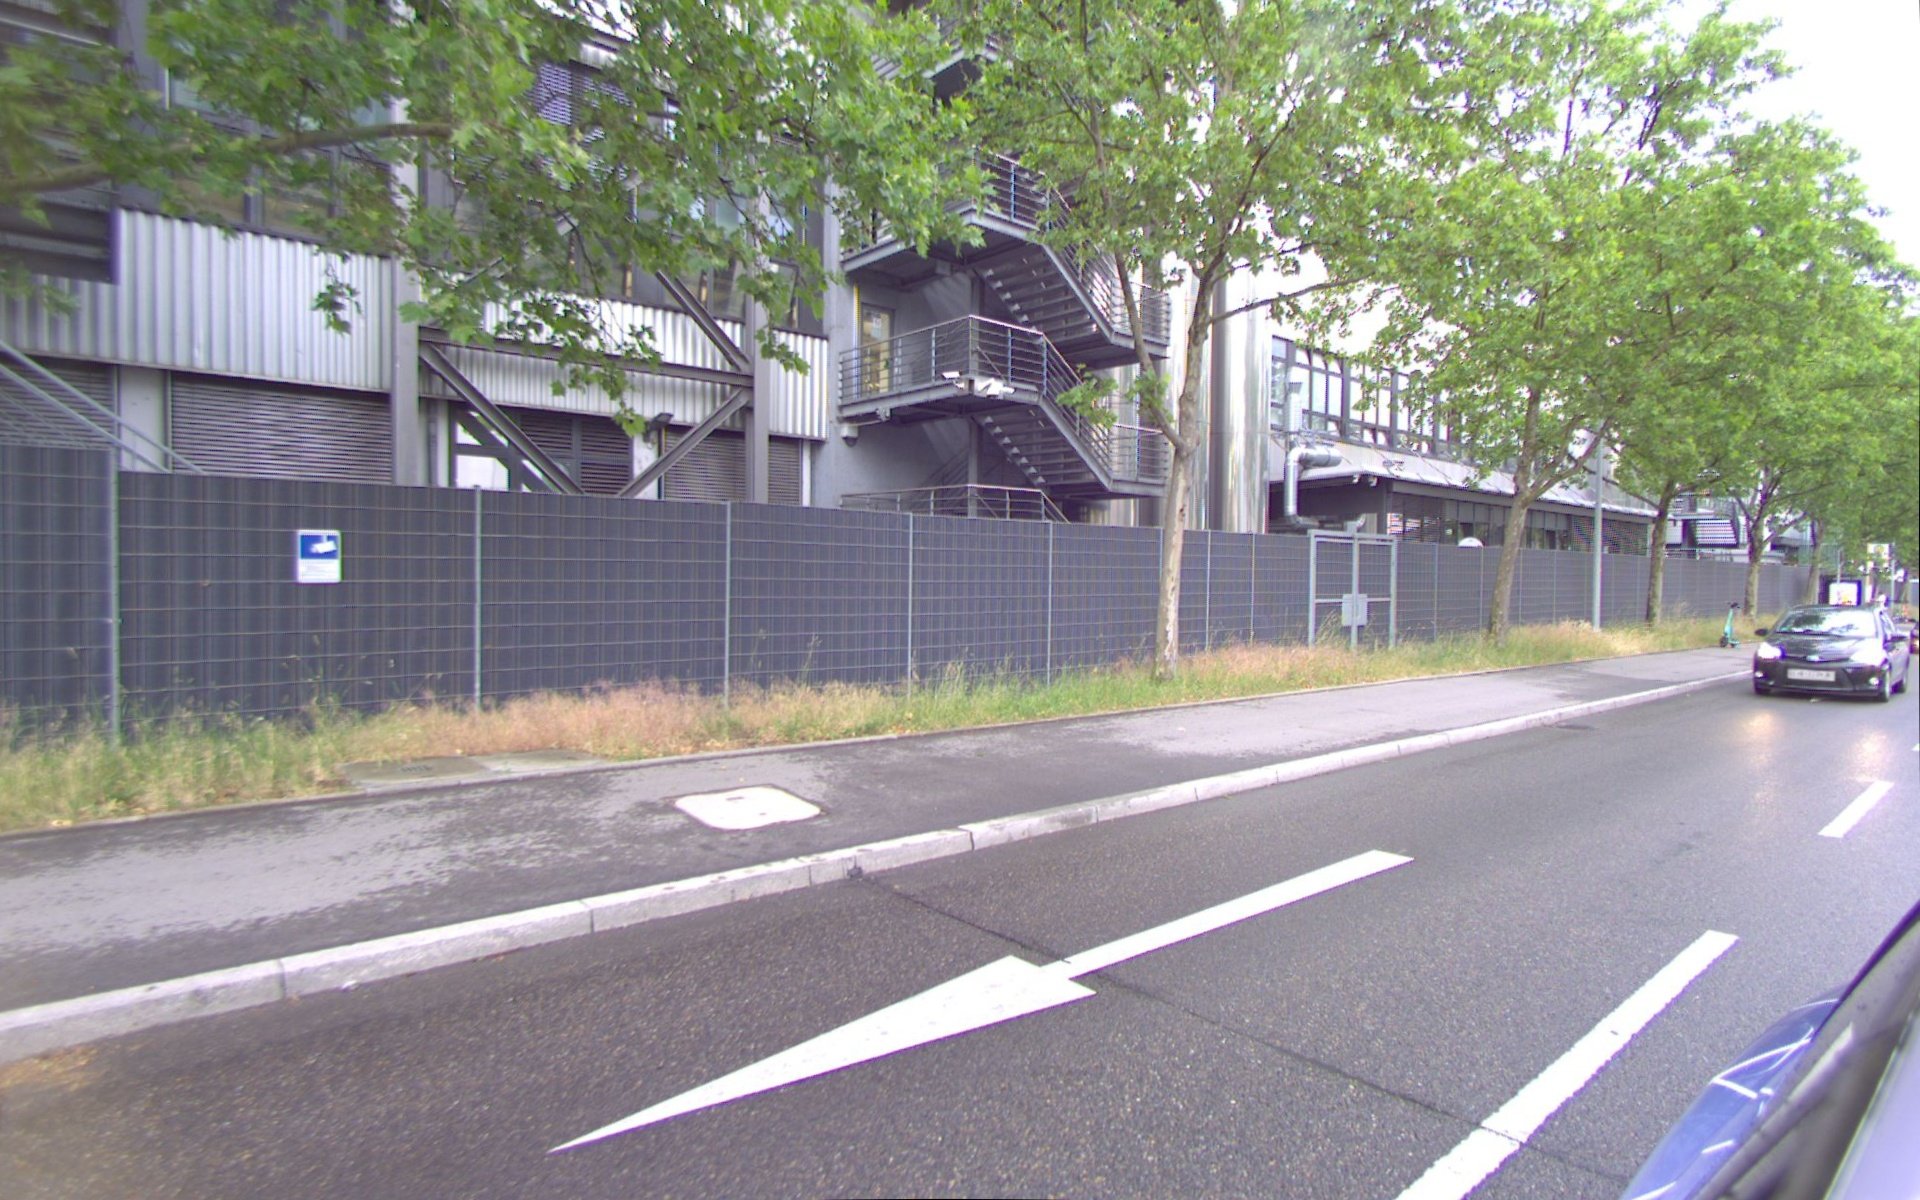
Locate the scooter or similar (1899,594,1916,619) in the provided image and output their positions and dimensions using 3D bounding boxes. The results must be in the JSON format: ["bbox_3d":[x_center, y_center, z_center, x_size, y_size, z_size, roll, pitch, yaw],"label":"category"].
[{"bbox_3d":[49.256,0.333,52.601,1.277,1.311,0.437,0,1,-39],"label":"scooter or similar"}]

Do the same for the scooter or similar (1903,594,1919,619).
[{"bbox_3d":[50.827,0.322,54.071,1.277,1.311,0.437,0,1,-39],"label":"scooter or similar"}]

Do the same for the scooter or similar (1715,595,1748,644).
[{"bbox_3d":[20.625,0.512,27.038,1.087,1.285,0.330,0,1,-33],"label":"scooter or similar"}]

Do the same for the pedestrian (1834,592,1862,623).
[{"bbox_3d":[42.838,0.352,48.824,0.686,1.433,0.932,0,1,-42],"label":"pedestrian"}]

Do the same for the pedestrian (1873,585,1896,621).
[{"bbox_3d":[46.223,0.139,50.602,0.717,1.731,0.777,0,1,-42],"label":"pedestrian"}]

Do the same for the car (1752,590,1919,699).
[{"bbox_3d":[14.686,0.639,16.833,4.010,1.512,1.877,0,2,-45],"label":"car"}]

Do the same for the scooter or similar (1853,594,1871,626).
[{"bbox_3d":[37.244,0.406,41.785,1.222,1.325,0.329,0,1,-37],"label":"scooter or similar"}]

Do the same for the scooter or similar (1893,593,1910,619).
[{"bbox_3d":[48.167,0.310,51.786,1.277,1.311,0.437,0,1,-39],"label":"scooter or similar"}]
